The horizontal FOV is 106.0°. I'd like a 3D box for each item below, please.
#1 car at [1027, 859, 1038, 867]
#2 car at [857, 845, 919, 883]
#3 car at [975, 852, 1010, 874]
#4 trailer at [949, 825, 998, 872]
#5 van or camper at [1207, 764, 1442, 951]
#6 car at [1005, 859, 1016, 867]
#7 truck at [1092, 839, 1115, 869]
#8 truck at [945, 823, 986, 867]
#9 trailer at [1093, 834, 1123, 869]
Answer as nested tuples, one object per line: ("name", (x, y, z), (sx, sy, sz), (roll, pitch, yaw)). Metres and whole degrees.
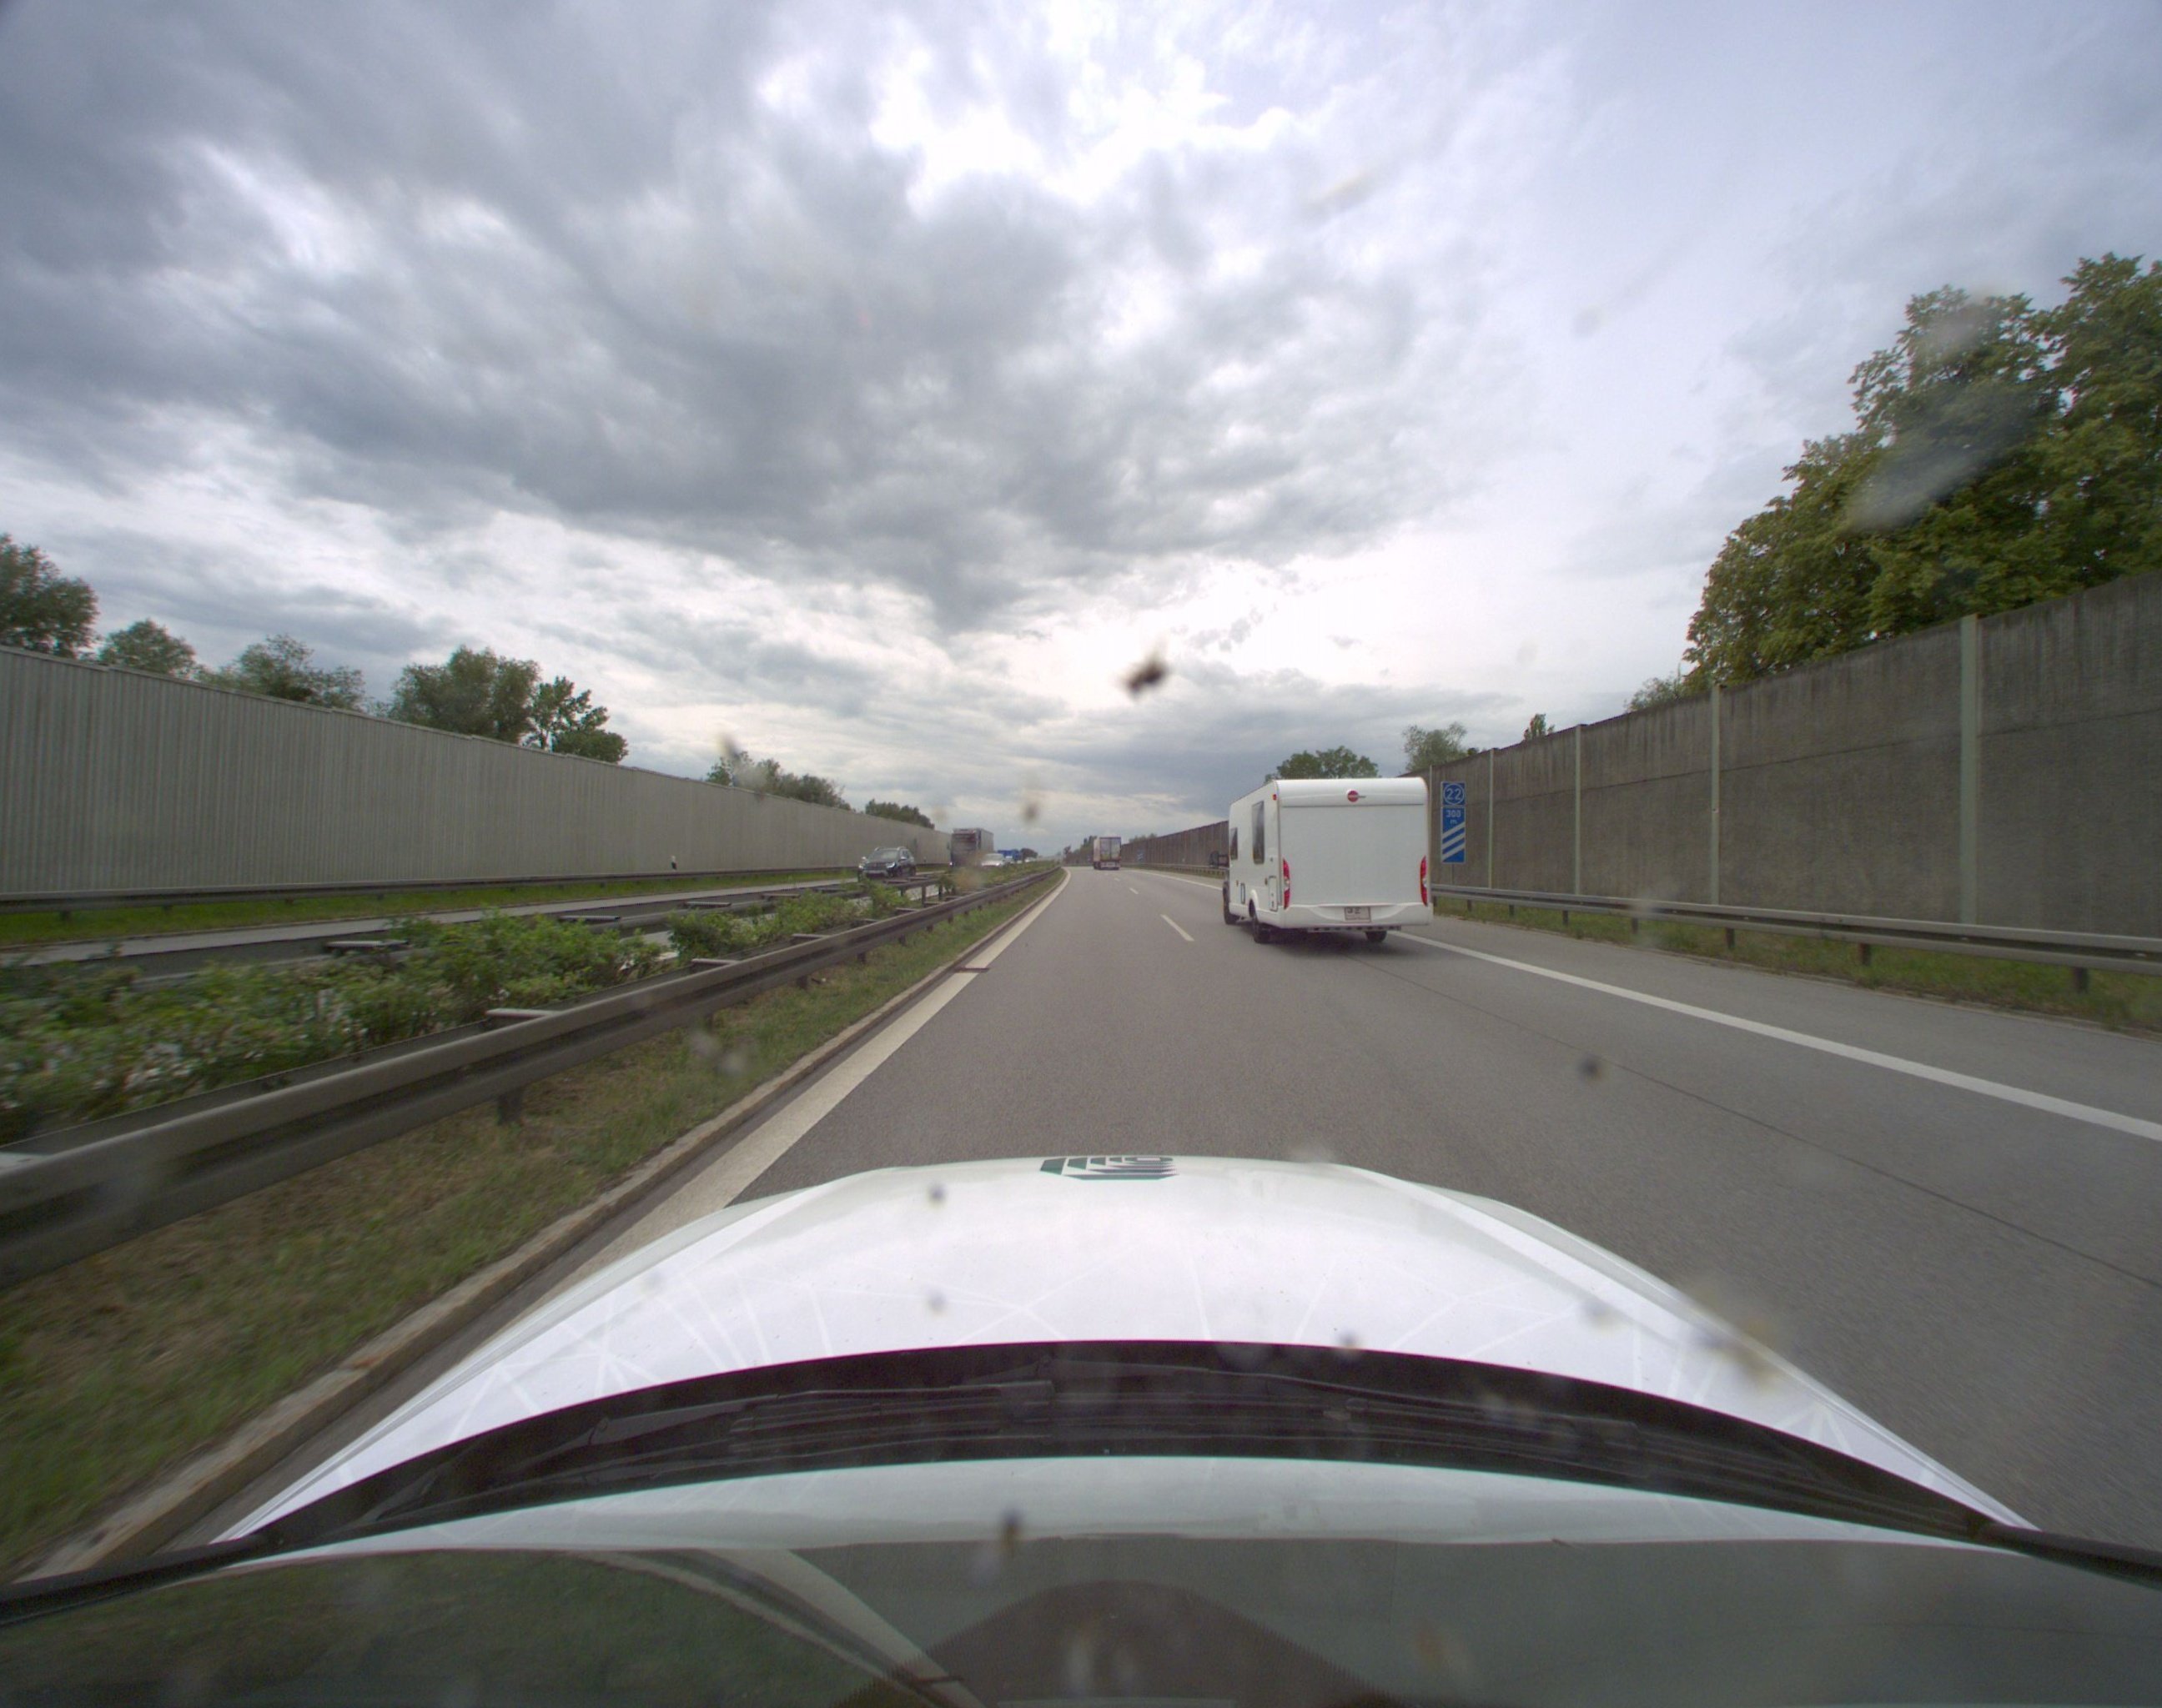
("car", (-9.856, 1.783, 165.398), (1.958, 1.670, 4.922), (1, -1, -1))
("car", (-8.716, 0.438, 37.224), (1.710, 1.642, 4.704), (0, 0, 0))
("car", (-6.328, 0.638, 58.853), (1.924, 1.549, 4.568), (0, 0, 1))
("trailer", (-10.446, -0.493, 80.981), (2.972, 4.240, 14.176), (0, 0, 0))
("van or camper", (4.077, 0.065, 15.383), (2.420, 2.696, 7.226), (0, 0, 1))
("car", (-12.876, 1.625, 148.404), (1.717, 1.417, 4.551), (-1, 0, -1))
("truck", (3.000, 0.063, 111.274), (2.749, 3.960, 5.672), (0, -1, -2))
("truck", (-10.423, -0.755, 74.044), (2.864, 3.859, 6.073), (0, 0, 0))
("trailer", (3.348, -0.206, 105.040), (2.786, 4.175, 14.087), (0, -1, -3))
